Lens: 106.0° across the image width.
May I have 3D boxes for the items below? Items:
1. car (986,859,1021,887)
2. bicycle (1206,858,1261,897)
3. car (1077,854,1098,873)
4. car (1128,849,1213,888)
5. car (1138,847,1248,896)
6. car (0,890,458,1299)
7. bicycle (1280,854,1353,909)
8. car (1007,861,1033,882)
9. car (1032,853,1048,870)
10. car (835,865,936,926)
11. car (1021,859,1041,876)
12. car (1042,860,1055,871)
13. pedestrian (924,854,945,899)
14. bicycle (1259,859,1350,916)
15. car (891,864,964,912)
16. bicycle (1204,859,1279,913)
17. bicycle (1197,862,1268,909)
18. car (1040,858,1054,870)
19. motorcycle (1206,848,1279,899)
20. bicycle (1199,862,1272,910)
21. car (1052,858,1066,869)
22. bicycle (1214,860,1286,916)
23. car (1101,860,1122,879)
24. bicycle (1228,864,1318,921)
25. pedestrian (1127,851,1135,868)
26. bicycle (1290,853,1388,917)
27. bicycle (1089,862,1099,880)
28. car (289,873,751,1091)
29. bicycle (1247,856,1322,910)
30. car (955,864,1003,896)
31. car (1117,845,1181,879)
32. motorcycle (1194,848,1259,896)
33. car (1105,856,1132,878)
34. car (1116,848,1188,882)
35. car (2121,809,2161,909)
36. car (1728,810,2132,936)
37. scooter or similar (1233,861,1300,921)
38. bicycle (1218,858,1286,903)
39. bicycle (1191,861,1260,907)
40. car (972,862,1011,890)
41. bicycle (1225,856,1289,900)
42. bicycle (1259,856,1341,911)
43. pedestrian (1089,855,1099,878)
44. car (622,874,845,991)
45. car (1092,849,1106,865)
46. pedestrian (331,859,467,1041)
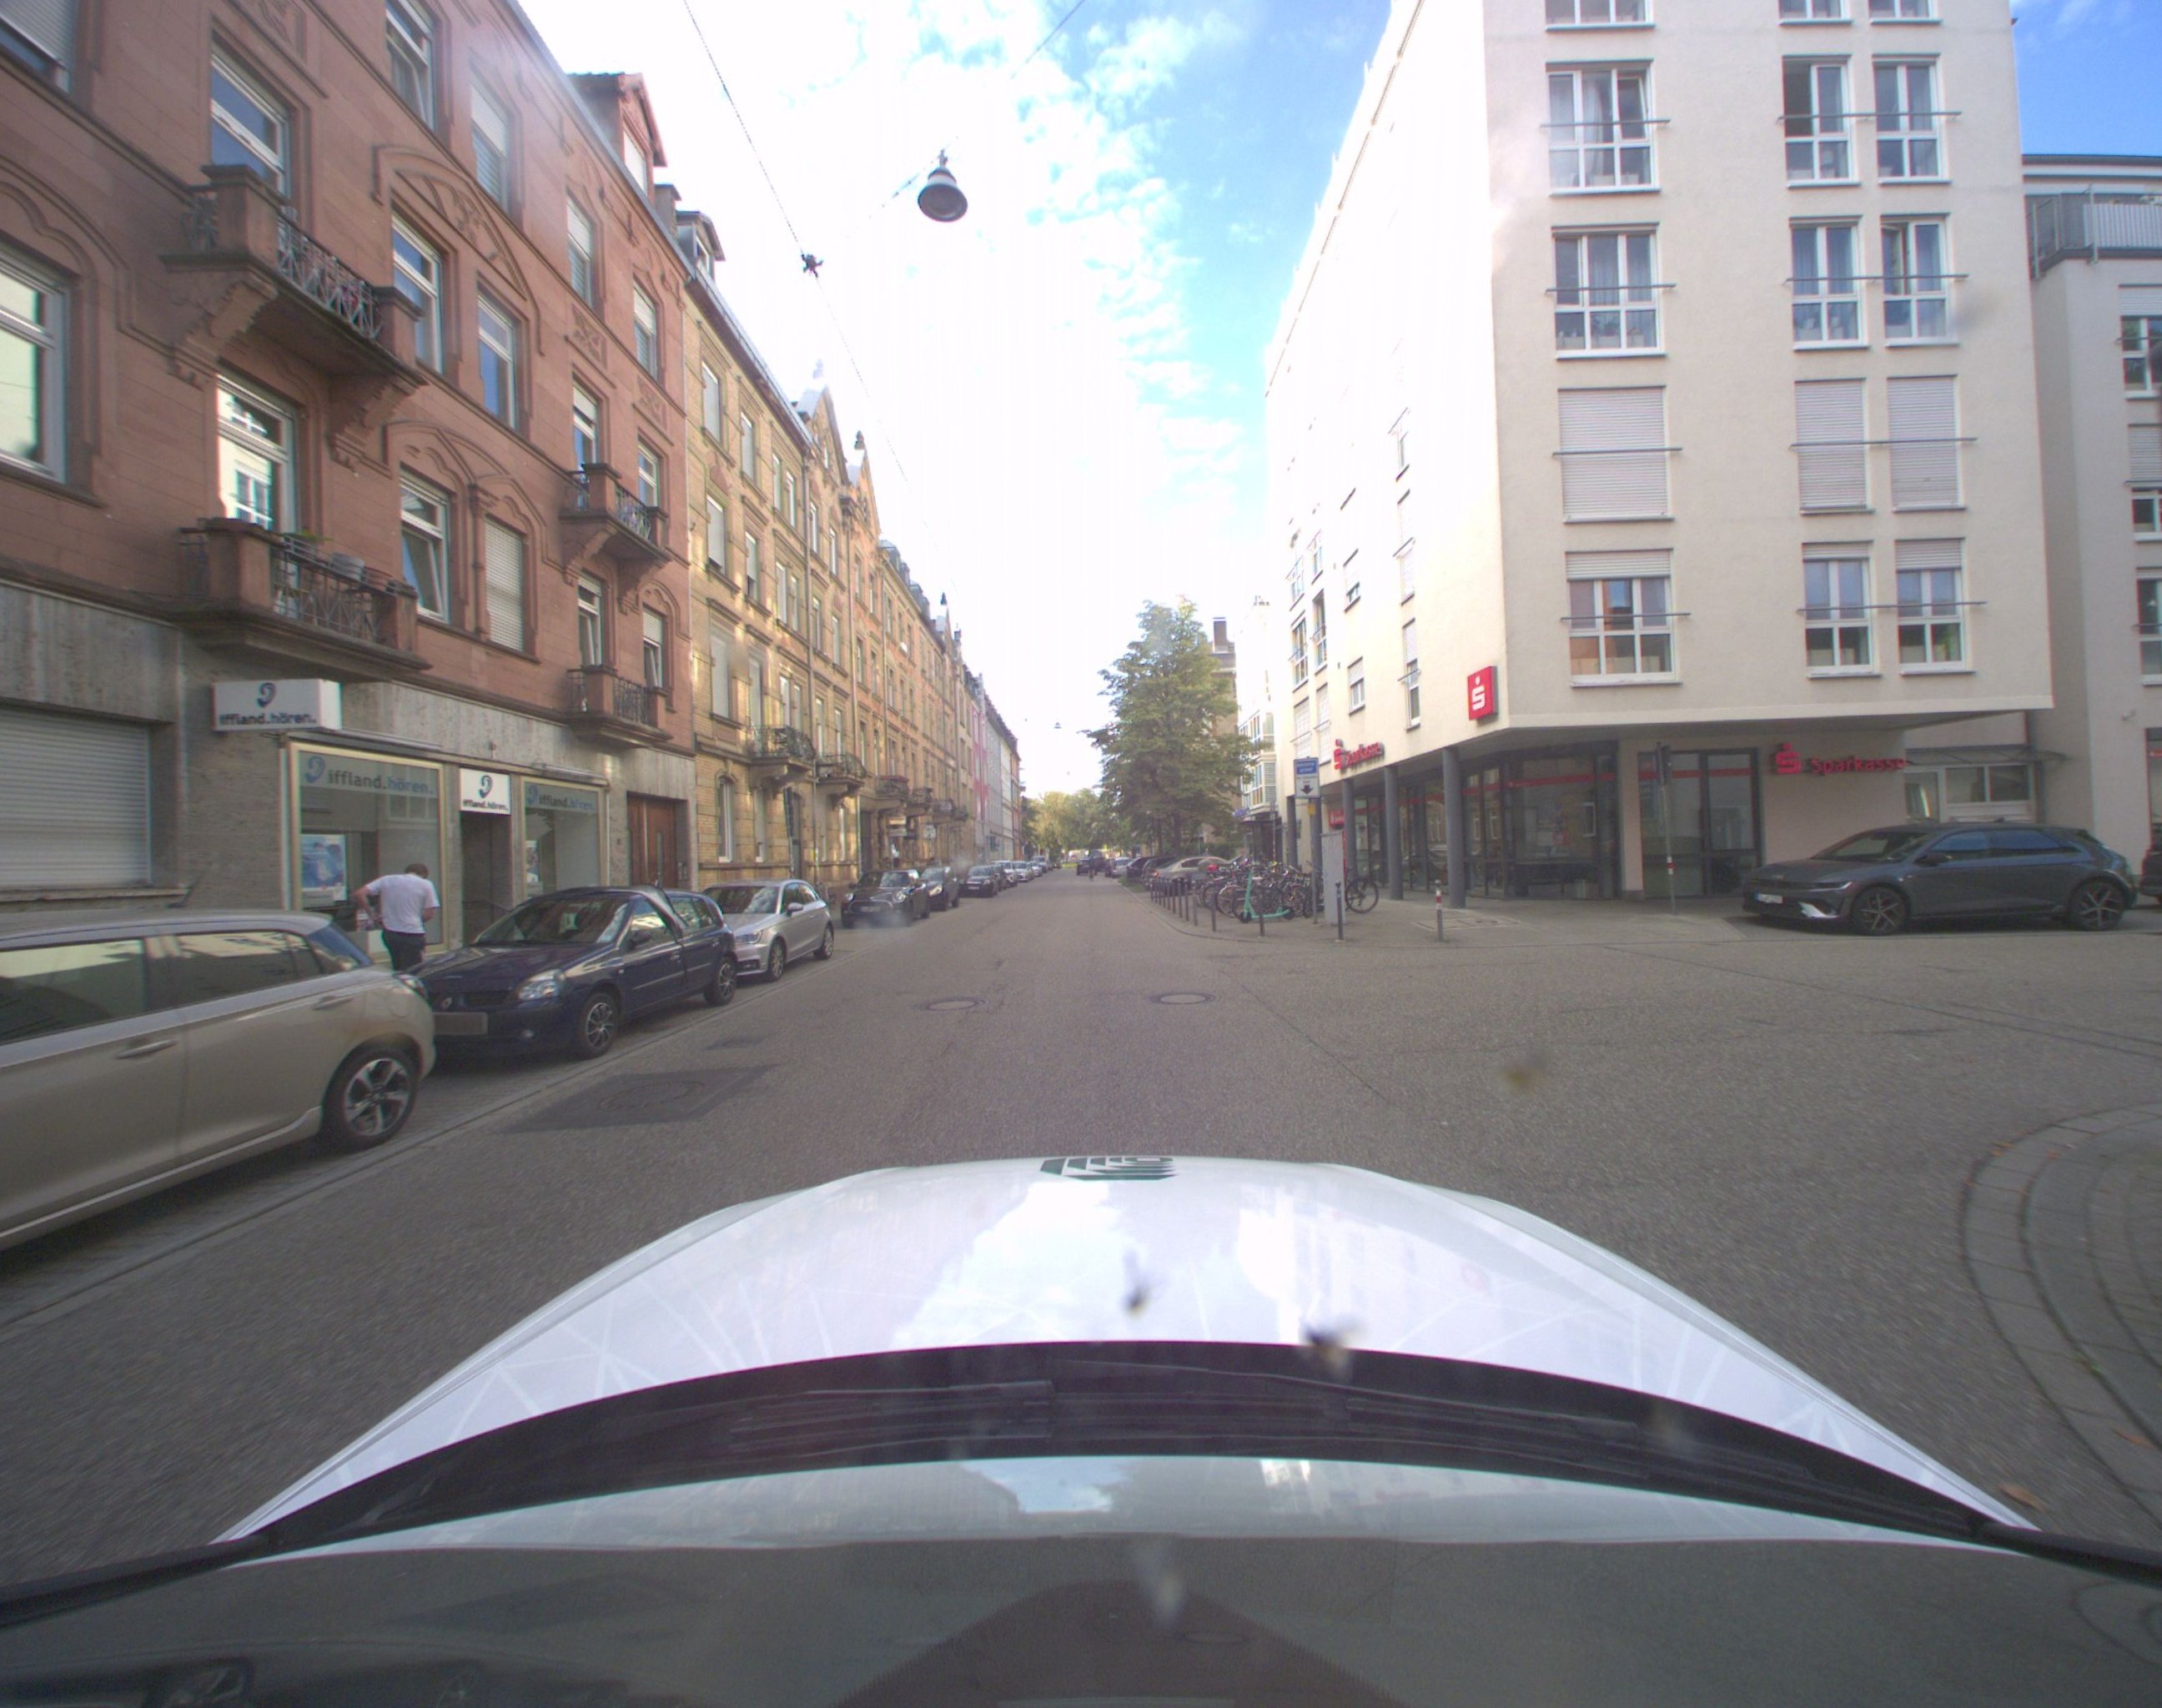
[{"bbox_3d":[-4.739,1.138,50.177,1.684,1.550,3.866,-1,0,0],"label":"car"},{"bbox_3d":[5.131,0.778,27.457,1.658,1.159,0.557,-4,0,1],"label":"bicycle"},{"bbox_3d":[0.627,0.964,77.860,1.958,1.741,4.040,-1,-1,0],"label":"car"},{"bbox_3d":[4.367,0.703,39.991,3.968,1.583,2.003,-4,0,5],"label":"car"},{"bbox_3d":[4.281,0.684,31.358,3.761,1.546,1.724,-4,-1,-11],"label":"car"},{"bbox_3d":[-5.051,0.995,3.440,1.736,1.483,3.983,-1,0,0],"label":"car"},{"bbox_3d":[5.418,0.621,18.751,1.490,1.146,0.411,-4,0,0],"label":"bicycle"},{"bbox_3d":[-4.638,1.311,62.228,1.685,1.550,3.866,-1,-1,0],"label":"car"},{"bbox_3d":[-4.665,0.839,93.451,1.685,1.821,3.866,-1,-1,0],"label":"car"},{"bbox_3d":[-5.067,1.025,21.579,1.684,1.386,3.866,-1,0,0],"label":"car"},{"bbox_3d":[-4.734,1.304,77.309,1.685,1.550,3.866,-1,-1,0],"label":"car"},{"bbox_3d":[-4.788,1.661,120.007,1.581,1.539,3.754,-1,0,2],"label":"car"},{"bbox_3d":[-6.250,0.950,34.839,0.686,1.853,0.932,-1,0,2],"label":"pedestrian"},{"bbox_3d":[4.912,0.722,17.964,1.759,1.087,0.650,-4,0,2],"label":"bicycle"},{"bbox_3d":[-5.093,1.085,27.467,1.684,1.437,3.866,-1,0,0],"label":"car"},{"bbox_3d":[3.913,0.770,19.850,1.772,1.146,0.408,-5,0,-20],"label":"bicycle"},{"bbox_3d":[4.077,0.840,21.958,1.758,1.118,0.412,-4,0,2],"label":"bicycle"},{"bbox_3d":[-4.534,1.282,109.074,1.685,1.550,3.866,-1,-1,0],"label":"car"},{"bbox_3d":[5.187,0.613,26.195,2.140,1.434,0.766,-4,0,4],"label":"motorcycle"},{"bbox_3d":[4.012,0.841,21.213,1.758,1.099,0.412,-4,0,2],"label":"bicycle"},{"bbox_3d":[-3.361,1.434,125.702,1.848,1.621,4.001,-1,0,1],"label":"car"},{"bbox_3d":[3.866,0.771,18.698,1.493,1.146,0.411,-4,0,-5],"label":"bicycle"},{"bbox_3d":[2.588,1.322,68.978,1.684,1.550,3.688,-1,-1,1],"label":"car"},{"bbox_3d":[4.070,0.808,17.316,1.763,1.056,0.411,-4,0,-5],"label":"bicycle"},{"bbox_3d":[6.609,0.774,107.238,0.992,2.230,0.899,-1,0,1],"label":"pedestrian"},{"bbox_3d":[5.336,0.629,16.920,1.759,1.162,0.650,-4,0,2],"label":"bicycle"},{"bbox_3d":[0.952,1.248,59.846,0.715,1.274,1.884,-1,0,1],"label":"bicycle"},{"bbox_3d":[-4.954,0.989,8.012,1.736,1.483,3.983,-1,0,0],"label":"car"},{"bbox_3d":[4.959,0.698,19.790,1.772,1.146,0.408,-5,0,-20],"label":"bicycle"},{"bbox_3d":[-4.707,1.172,38.019,1.684,1.369,3.866,1,0,0],"label":"car"},{"bbox_3d":[4.356,0.508,52.397,3.969,1.683,1.740,-4,8,4],"label":"car"},{"bbox_3d":[5.181,0.623,29.137,2.140,1.530,0.687,-4,0,4],"label":"motorcycle"},{"bbox_3d":[2.949,1.010,64.516,1.924,1.638,4.000,-1,0,1],"label":"car"},{"bbox_3d":[4.149,0.622,47.337,3.968,1.640,2.003,-4,0,5],"label":"car"},{"bbox_3d":[18.734,0.027,12.387,3.589,1.567,1.644,-2,1,4],"label":"car"},{"bbox_3d":[12.928,0.250,12.614,4.346,1.630,1.808,-2,1,1],"label":"car"},{"bbox_3d":[3.802,0.771,16.702,1.194,1.147,0.381,-5,1,32],"label":"scooter or similar"},{"bbox_3d":[4.887,0.768,23.304,1.777,1.159,0.503,-4,0,26],"label":"bicycle"},{"bbox_3d":[4.052,0.840,22.892,1.787,1.159,0.500,-4,0,2],"label":"bicycle"},{"bbox_3d":[-4.907,1.185,44.991,1.684,1.369,3.866,1,0,0],"label":"car"},{"bbox_3d":[5.235,0.710,24.300,1.726,1.159,0.500,-4,0,1],"label":"bicycle"},{"bbox_3d":[5.179,0.683,19.288,1.763,1.146,0.410,-4,0,-6],"label":"bicycle"},{"bbox_3d":[0.950,0.922,59.937,0.715,1.650,0.930,-1,0,1],"label":"pedestrian"},{"bbox_3d":[-5.015,1.052,12.373,1.684,1.386,3.866,-1,0,0],"label":"car"},{"bbox_3d":[2.384,0.357,108.083,1.777,2.020,3.886,-1,0,-1],"label":"car"},{"bbox_3d":[-7.071,0.963,8.485,0.730,1.790,0.770,1,0,-7],"label":"pedestrian"}]
